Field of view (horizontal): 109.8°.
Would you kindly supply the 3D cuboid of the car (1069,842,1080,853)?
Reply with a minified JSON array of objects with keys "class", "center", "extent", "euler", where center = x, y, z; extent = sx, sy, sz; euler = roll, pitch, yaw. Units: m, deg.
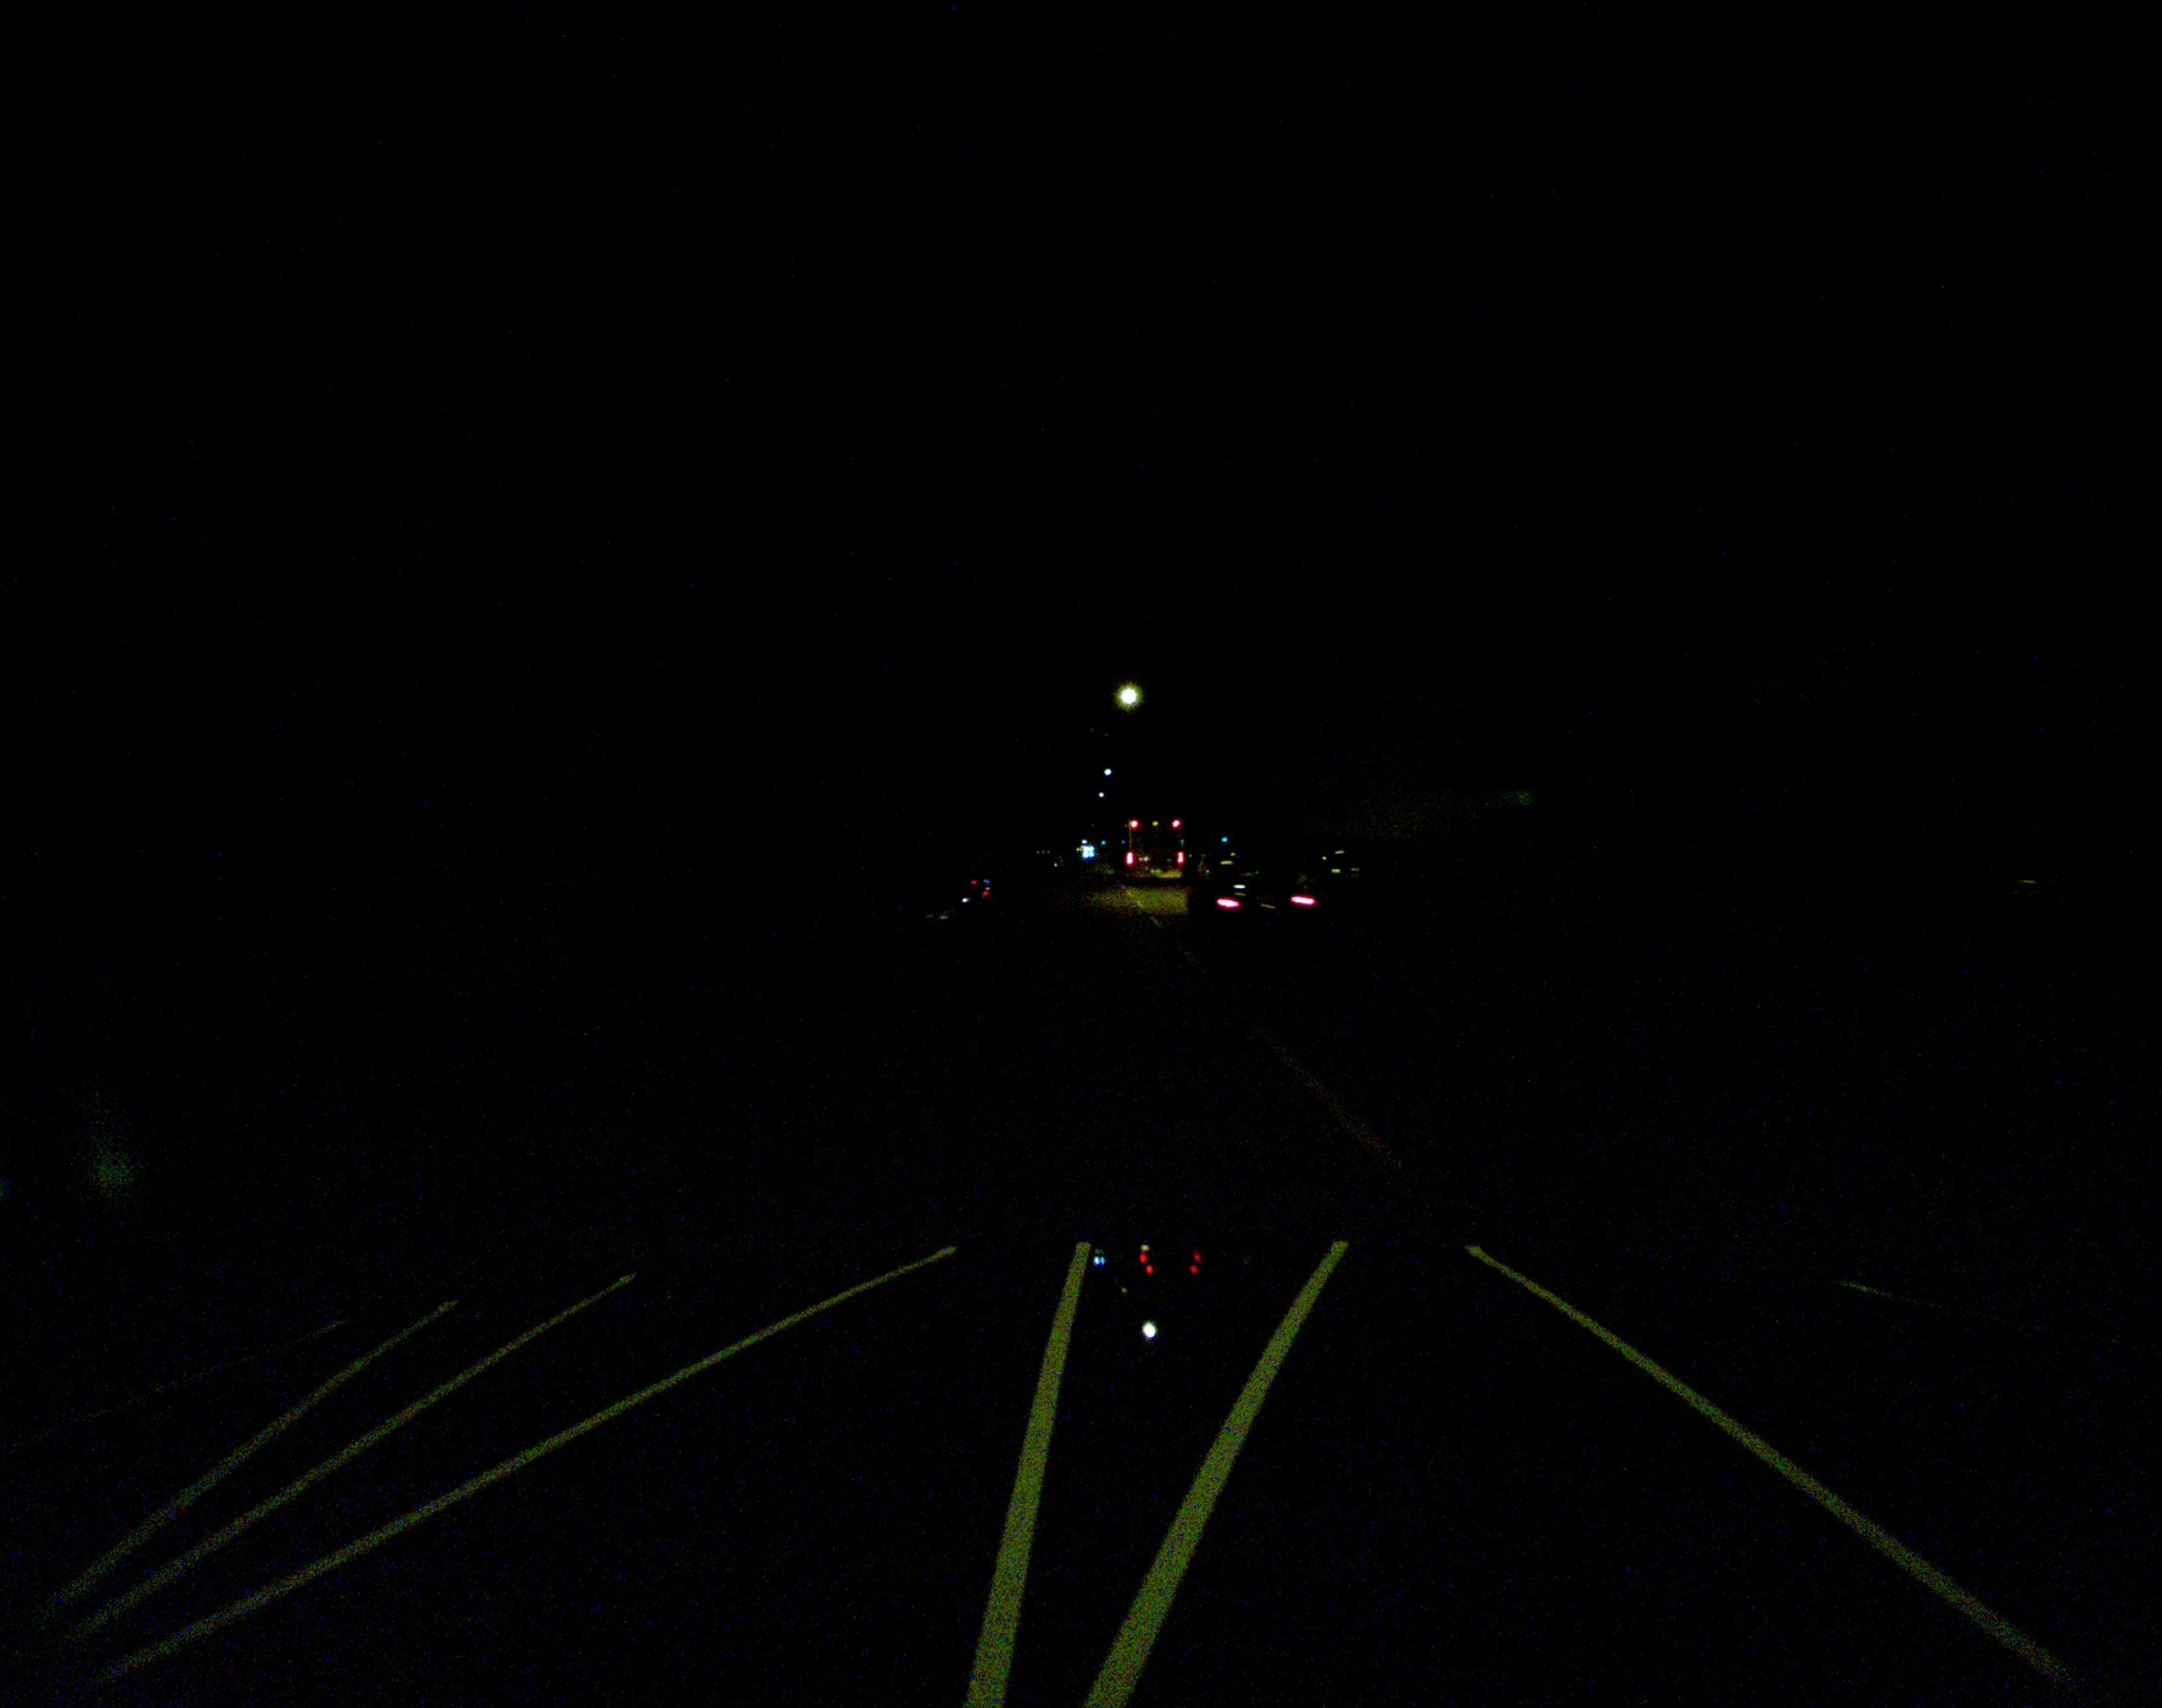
[{"class":"car","center":[-1.267,-1.210,138.581],"extent":[1.916,1.816,4.898],"euler":[-1,1,-2]}]

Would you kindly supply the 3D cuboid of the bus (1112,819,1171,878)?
[{"class":"bus","center":[3.558,-0.343,47.350],"extent":[2.844,3.159,10.498],"euler":[-2,0,1]}]

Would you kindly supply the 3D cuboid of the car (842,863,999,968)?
[{"class":"car","center":[-2.556,0.916,13.110],"extent":[1.767,1.467,4.080],"euler":[1,0,1]}]

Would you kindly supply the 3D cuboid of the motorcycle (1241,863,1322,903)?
[{"class":"motorcycle","center":[5.897,0.831,22.409],"extent":[2.202,1.124,0.717],"euler":[0,1,34]}]

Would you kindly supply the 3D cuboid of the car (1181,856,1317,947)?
[{"class":"car","center":[2.964,0.775,14.182],"extent":[1.650,1.414,3.870],"euler":[-1,0,0]}]

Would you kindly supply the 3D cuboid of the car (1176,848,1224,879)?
[{"class":"car","center":[6.349,0.474,40.961],"extent":[1.868,1.483,4.279],"euler":[-2,1,0]}]

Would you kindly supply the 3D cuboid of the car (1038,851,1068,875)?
[{"class":"car","center":[-1.862,0.596,51.968],"extent":[1.850,1.409,4.644],"euler":[2,1,0]}]

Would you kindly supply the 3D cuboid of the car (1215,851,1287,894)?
[{"class":"car","center":[6.256,0.619,28.406],"extent":[1.708,1.483,4.227],"euler":[0,0,0]}]

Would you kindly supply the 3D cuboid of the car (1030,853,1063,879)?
[{"class":"car","center":[-2.052,0.690,46.248],"extent":[1.775,1.439,4.018],"euler":[0,1,0]}]

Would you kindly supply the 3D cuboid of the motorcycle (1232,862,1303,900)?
[{"class":"motorcycle","center":[5.974,0.834,24.427],"extent":[0.717,1.140,2.202],"euler":[-1,1,-42]}]

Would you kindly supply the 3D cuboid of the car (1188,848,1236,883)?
[{"class":"car","center":[6.227,0.517,36.456],"extent":[1.625,1.483,3.779],"euler":[-2,1,0]}]

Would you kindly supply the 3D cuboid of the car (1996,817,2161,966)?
[{"class":"car","center":[13.289,0.320,8.281],"extent":[4.236,1.497,1.872],"euler":[-2,2,3]}]

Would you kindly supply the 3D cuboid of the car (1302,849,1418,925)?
[{"class":"car","center":[6.123,0.663,16.954],"extent":[1.642,1.489,2.765],"euler":[-1,1,2]}]

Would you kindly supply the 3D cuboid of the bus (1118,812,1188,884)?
[{"class":"bus","center":[3.426,-0.297,38.254],"extent":[2.844,3.159,7.660],"euler":[-2,0,1]}]

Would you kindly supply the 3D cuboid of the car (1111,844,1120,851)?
[{"class":"car","center":[7.891,-1.412,174.665],"extent":[1.731,1.477,4.290],"euler":[-2,1,0]}]
